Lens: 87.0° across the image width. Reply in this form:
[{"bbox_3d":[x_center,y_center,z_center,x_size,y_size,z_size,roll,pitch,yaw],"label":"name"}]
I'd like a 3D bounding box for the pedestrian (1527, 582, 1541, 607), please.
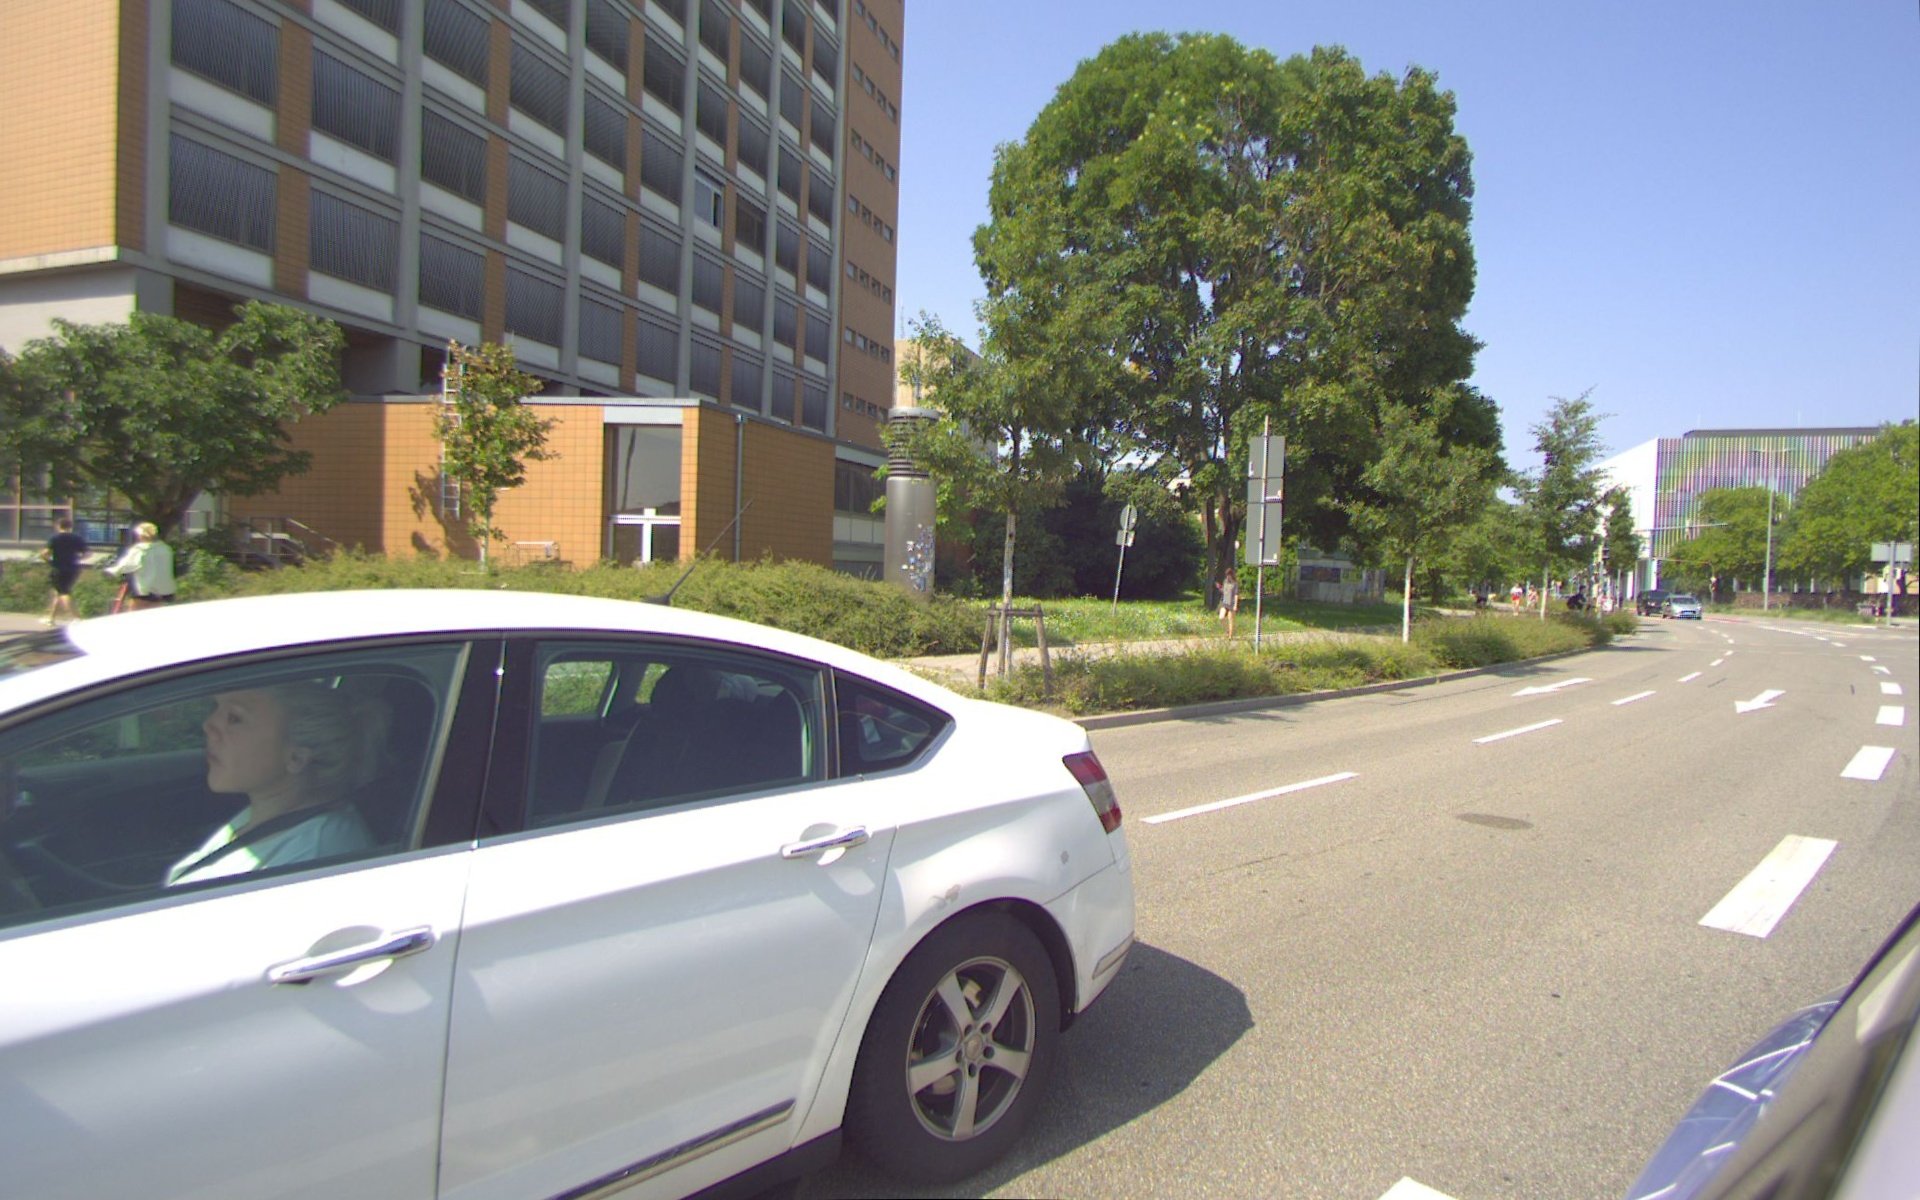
[{"bbox_3d":[31.311,-0.297,55.234,0.610,1.315,0.434,0,0,22],"label":"pedestrian"}]

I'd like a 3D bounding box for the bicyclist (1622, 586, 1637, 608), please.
[{"bbox_3d":[44.141,-0.195,66.730,0.673,1.417,1.039,2,1,28],"label":"bicyclist"}]

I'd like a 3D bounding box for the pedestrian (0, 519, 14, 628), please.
[{"bbox_3d":[-15.412,-0.427,15.858,0.831,1.695,0.670,2,2,31],"label":"pedestrian"}]

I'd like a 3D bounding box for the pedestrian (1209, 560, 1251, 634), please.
[{"bbox_3d":[6.429,-0.086,24.060,0.669,1.720,0.795,2,1,38],"label":"pedestrian"}]

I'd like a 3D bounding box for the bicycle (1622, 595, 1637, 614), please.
[{"bbox_3d":[44.111,0.282,66.709,0.589,1.183,2.213,2,1,28],"label":"bicycle"}]

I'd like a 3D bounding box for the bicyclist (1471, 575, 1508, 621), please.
[{"bbox_3d":[19.286,-0.084,36.873,0.909,1.625,0.903,1,1,-43],"label":"bicyclist"}]

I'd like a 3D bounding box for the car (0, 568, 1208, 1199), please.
[{"bbox_3d":[-1.594,0.674,2.217,4.527,1.446,1.773,0,2,-39],"label":"car"}]

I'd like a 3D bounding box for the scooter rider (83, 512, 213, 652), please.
[{"bbox_3d":[-10.642,-0.230,13.292,1.021,1.780,0.859,0,0,3],"label":"scooter rider"}]

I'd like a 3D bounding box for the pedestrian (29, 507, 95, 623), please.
[{"bbox_3d":[-15.168,-0.599,17.093,0.831,1.894,0.622,2,2,31],"label":"pedestrian"}]

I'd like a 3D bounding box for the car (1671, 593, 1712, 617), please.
[{"bbox_3d":[48.380,0.295,67.023,1.645,1.550,4.487,0,0,29],"label":"car"}]

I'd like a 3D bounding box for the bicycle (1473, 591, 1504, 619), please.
[{"bbox_3d":[19.257,0.176,36.831,1.751,0.992,0.357,0,2,-41],"label":"bicycle"}]

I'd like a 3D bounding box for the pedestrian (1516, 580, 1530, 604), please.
[{"bbox_3d":[30.890,-0.451,55.546,0.628,1.315,0.483,0,0,24],"label":"pedestrian"}]

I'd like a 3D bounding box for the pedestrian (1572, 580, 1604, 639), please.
[{"bbox_3d":[21.242,0.316,34.213,0.818,1.926,0.622,2,1,37],"label":"pedestrian"}]

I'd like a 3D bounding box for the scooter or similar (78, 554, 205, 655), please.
[{"bbox_3d":[-10.708,0.052,13.264,1.156,1.295,0.651,0,0,4],"label":"scooter or similar"}]

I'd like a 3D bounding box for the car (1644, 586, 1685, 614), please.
[{"bbox_3d":[51.880,-0.019,74.585,1.874,1.943,4.489,1,1,28],"label":"car"}]
